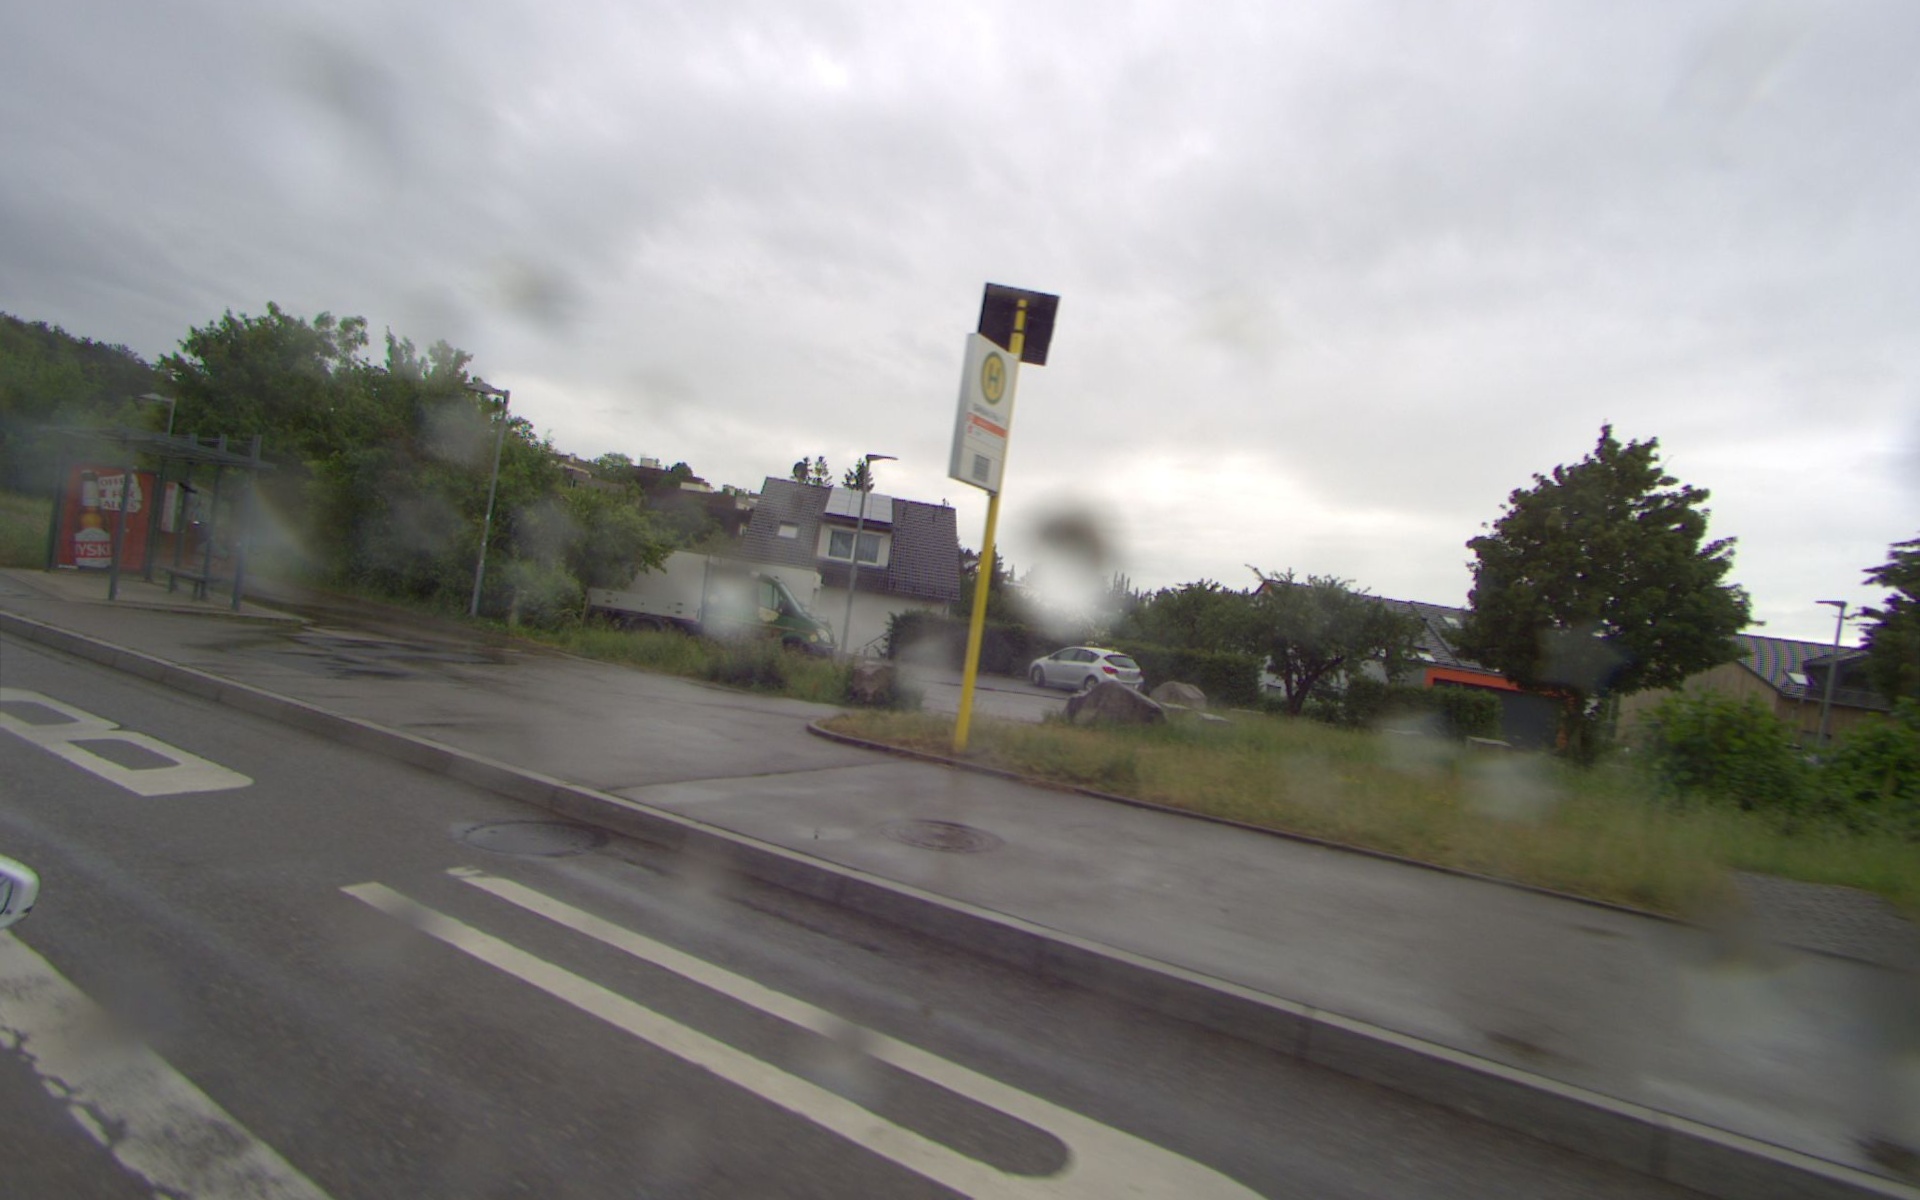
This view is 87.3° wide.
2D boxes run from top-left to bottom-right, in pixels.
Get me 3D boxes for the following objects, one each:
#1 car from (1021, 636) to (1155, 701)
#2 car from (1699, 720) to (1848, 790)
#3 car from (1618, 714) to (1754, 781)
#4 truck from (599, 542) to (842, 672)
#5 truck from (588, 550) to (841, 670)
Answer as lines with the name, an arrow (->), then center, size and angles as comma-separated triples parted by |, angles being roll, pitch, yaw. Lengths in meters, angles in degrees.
car -> 3.945, 2.122, 31.659 | 1.745, 1.449, 4.170 | 8, -1, -34
car -> 30.152, 5.701, 37.458 | 1.944, 1.771, 3.997 | 8, 0, -4
car -> 27.631, 5.573, 38.469 | 1.944, 1.771, 3.997 | 8, 0, -4
truck -> -5.907, 0.204, 25.485 | 5.537, 2.556, 1.999 | 6, -1, -7
truck -> -6.034, 0.277, 25.399 | 5.747, 2.133, 1.999 | 8, -1, -6
